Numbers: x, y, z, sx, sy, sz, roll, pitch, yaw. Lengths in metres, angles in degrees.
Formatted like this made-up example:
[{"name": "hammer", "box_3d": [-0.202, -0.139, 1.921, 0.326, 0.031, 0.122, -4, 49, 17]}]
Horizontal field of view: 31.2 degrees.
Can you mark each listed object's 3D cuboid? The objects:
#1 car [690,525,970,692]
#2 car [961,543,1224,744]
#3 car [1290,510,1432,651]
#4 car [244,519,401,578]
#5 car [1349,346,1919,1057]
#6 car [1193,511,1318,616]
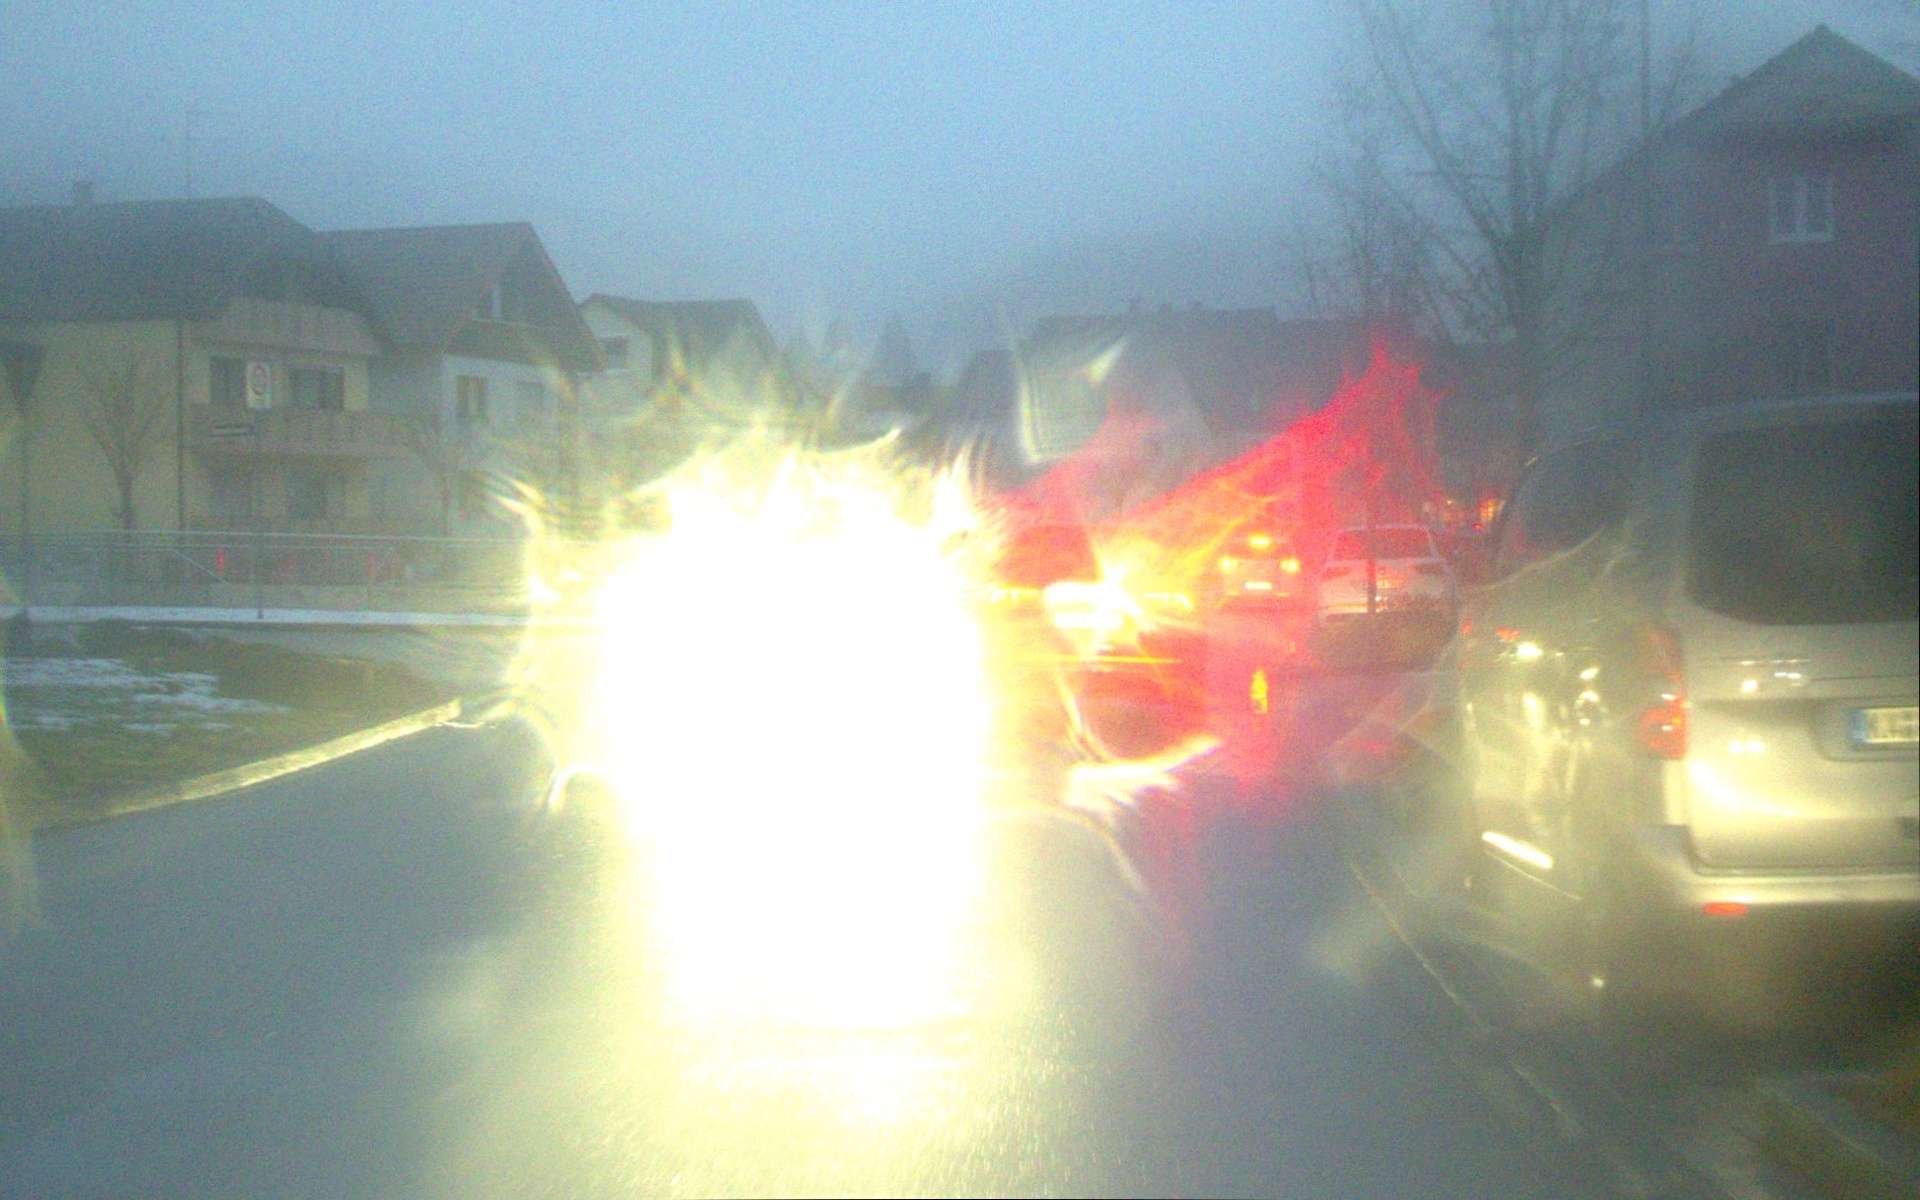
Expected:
[{"name": "car", "box_3d": [-1.207, 0.026, 34.071, 1.907, 1.483, 4.566, 1, 2, 9]}, {"name": "car", "box_3d": [1.042, 0.296, 28.248, 1.993, 1.520, 4.000, 0, 1, 1]}, {"name": "car", "box_3d": [5.577, -0.308, 47.429, 1.745, 1.779, 4.335, -2, 1, 9]}, {"name": "car", "box_3d": [-14.976, -1.227, 80.960, 1.995, 1.303, 4.110, 2, 2, 16]}, {"name": "car", "box_3d": [2.774, 0.198, 12.747, 1.977, 2.006, 5.745, -2, 1, 0]}, {"name": "car", "box_3d": [5.910, -0.715, 68.345, 1.994, 2.007, 3.998, 1, 0, 12]}]
